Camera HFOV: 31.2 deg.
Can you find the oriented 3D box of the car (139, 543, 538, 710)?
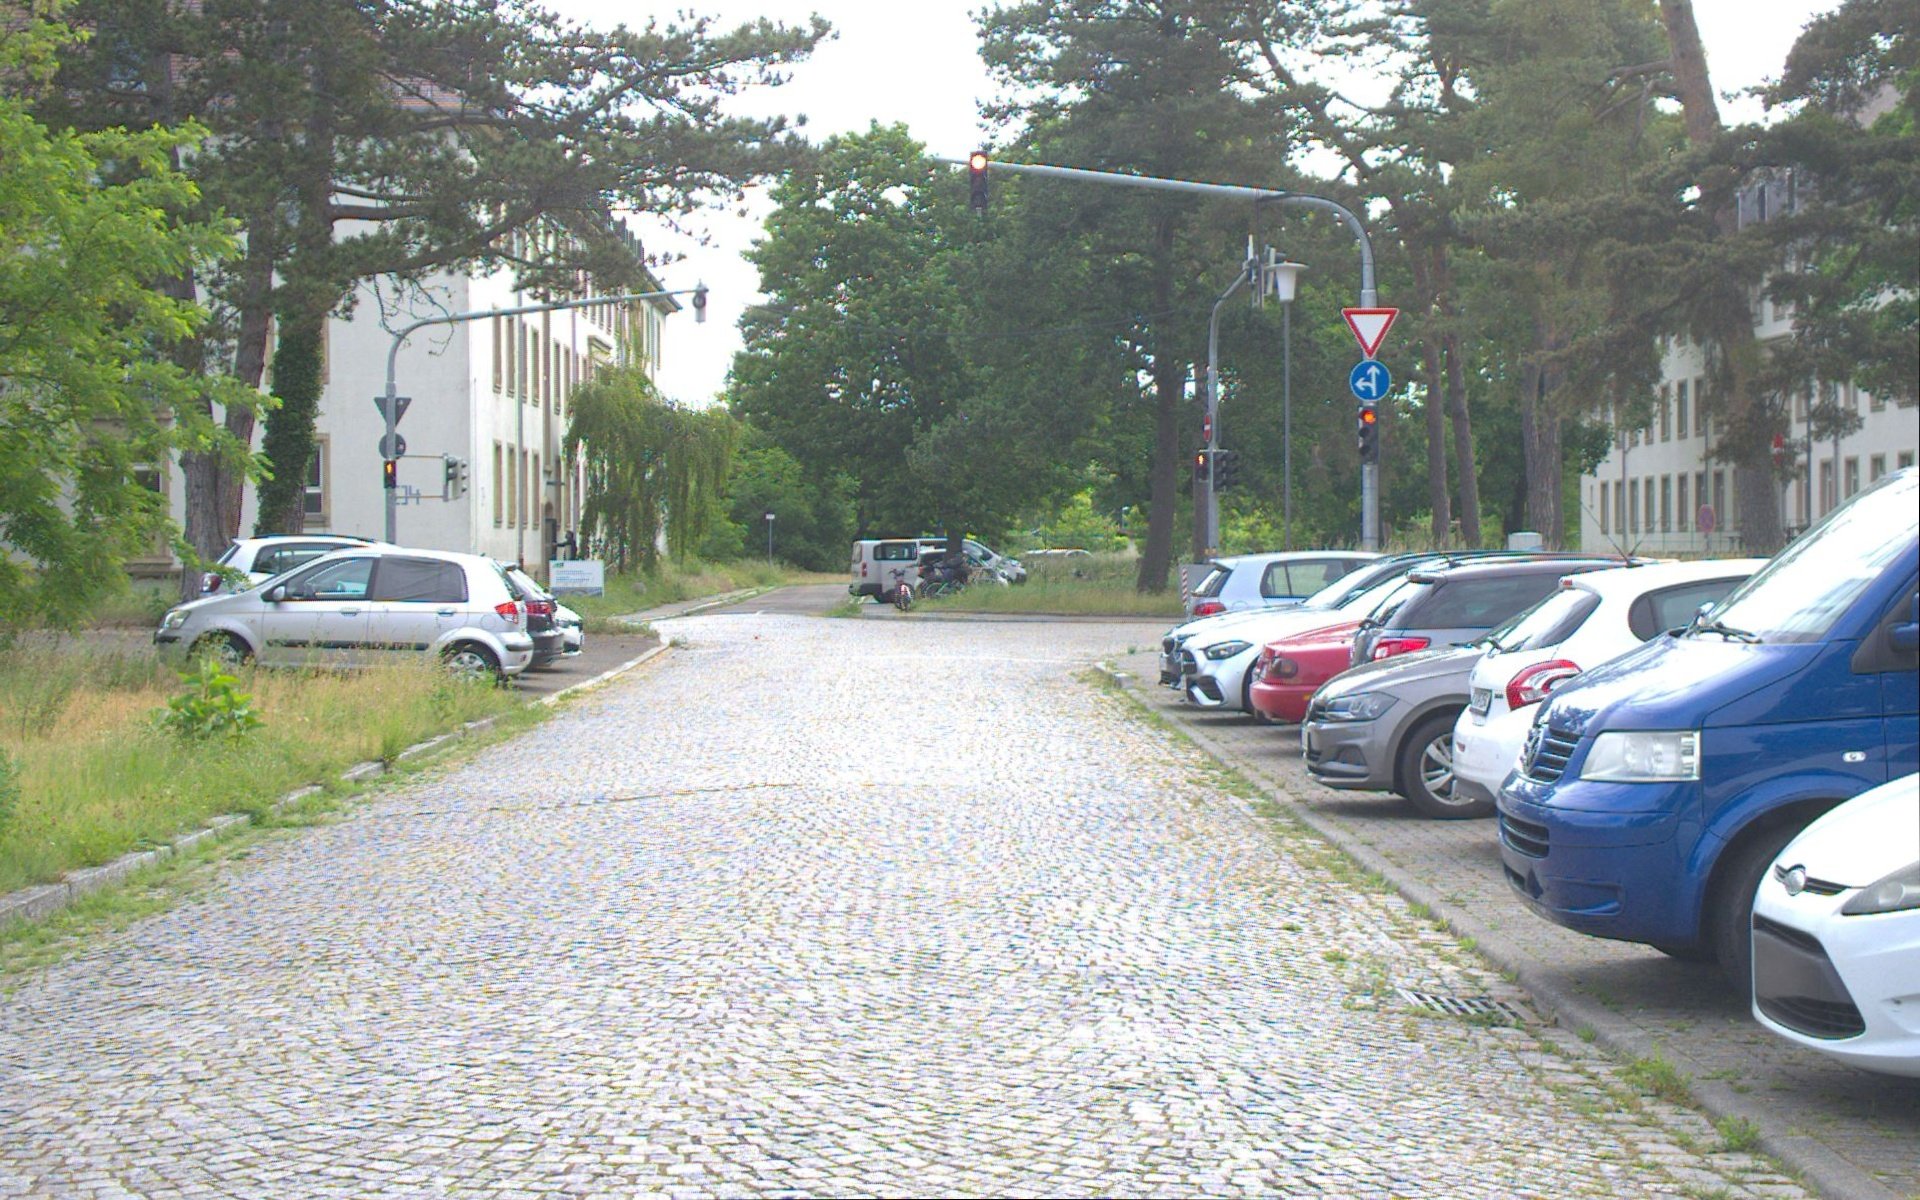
[{"bbox_3d":[-6.285,0.252,35.068,3.821,1.567,1.564,-1,1,-4],"label":"car"}]

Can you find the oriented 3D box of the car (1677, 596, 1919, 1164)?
[{"bbox_3d":[4.090,0.691,9.832,3.671,1.444,1.615,-1,1,-3],"label":"car"}]

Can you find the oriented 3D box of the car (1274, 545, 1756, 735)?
[{"bbox_3d":[4.549,0.315,28.464,3.671,1.444,1.524,-1,1,-2],"label":"car"}]

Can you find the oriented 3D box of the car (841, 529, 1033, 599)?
[{"bbox_3d":[-0.702,-1.086,103.017,5.444,2.007,2.269,1,1,-10],"label":"car"}]

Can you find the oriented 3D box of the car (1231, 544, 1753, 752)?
[{"bbox_3d":[3.998,0.345,26.175,3.671,1.444,1.524,-1,1,-2],"label":"car"}]

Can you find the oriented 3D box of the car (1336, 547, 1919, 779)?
[{"bbox_3d":[4.522,0.408,23.473,3.671,1.444,1.524,-1,1,-2],"label":"car"}]

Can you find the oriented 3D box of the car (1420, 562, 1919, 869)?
[{"bbox_3d":[4.341,0.544,17.705,3.671,1.444,1.524,-1,1,-2],"label":"car"}]

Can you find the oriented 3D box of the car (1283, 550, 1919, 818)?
[{"bbox_3d":[3.871,0.470,20.480,3.671,1.444,1.524,-1,1,-2],"label":"car"}]

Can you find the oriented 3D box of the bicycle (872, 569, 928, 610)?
[{"bbox_3d":[-1.414,-0.257,81.038,0.620,0.942,1.663,0,1,-28],"label":"bicycle"}]

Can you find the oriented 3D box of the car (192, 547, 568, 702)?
[{"bbox_3d":[-6.283,0.253,37.486,3.821,1.567,1.564,-1,1,-1],"label":"car"}]

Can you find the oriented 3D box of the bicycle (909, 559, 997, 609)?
[{"bbox_3d":[-0.175,-0.400,85.116,2.136,1.210,0.622,1,1,-5],"label":"bicycle"}]

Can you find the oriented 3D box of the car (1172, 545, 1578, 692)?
[{"bbox_3d":[4.334,0.182,36.221,3.967,1.416,1.620,-1,1,-5],"label":"car"}]

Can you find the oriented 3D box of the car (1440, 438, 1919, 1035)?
[{"bbox_3d":[4.291,0.400,12.424,4.754,1.948,1.931,-1,1,-2],"label":"car"}]

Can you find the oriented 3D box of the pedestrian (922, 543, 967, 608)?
[{"bbox_3d":[-0.380,-0.612,85.455,1.033,1.608,0.757,1,1,-5],"label":"pedestrian"}]

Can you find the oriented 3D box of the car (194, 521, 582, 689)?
[{"bbox_3d":[-6.683,0.047,40.468,4.262,1.834,1.744,-1,1,-1],"label":"car"}]

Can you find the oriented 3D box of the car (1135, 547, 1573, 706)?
[{"bbox_3d":[3.807,0.241,33.567,3.967,1.416,1.620,-1,1,-5],"label":"car"}]

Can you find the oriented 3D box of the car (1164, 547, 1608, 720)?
[{"bbox_3d":[3.768,0.280,30.711,3.671,1.416,1.524,-1,1,-5],"label":"car"}]
